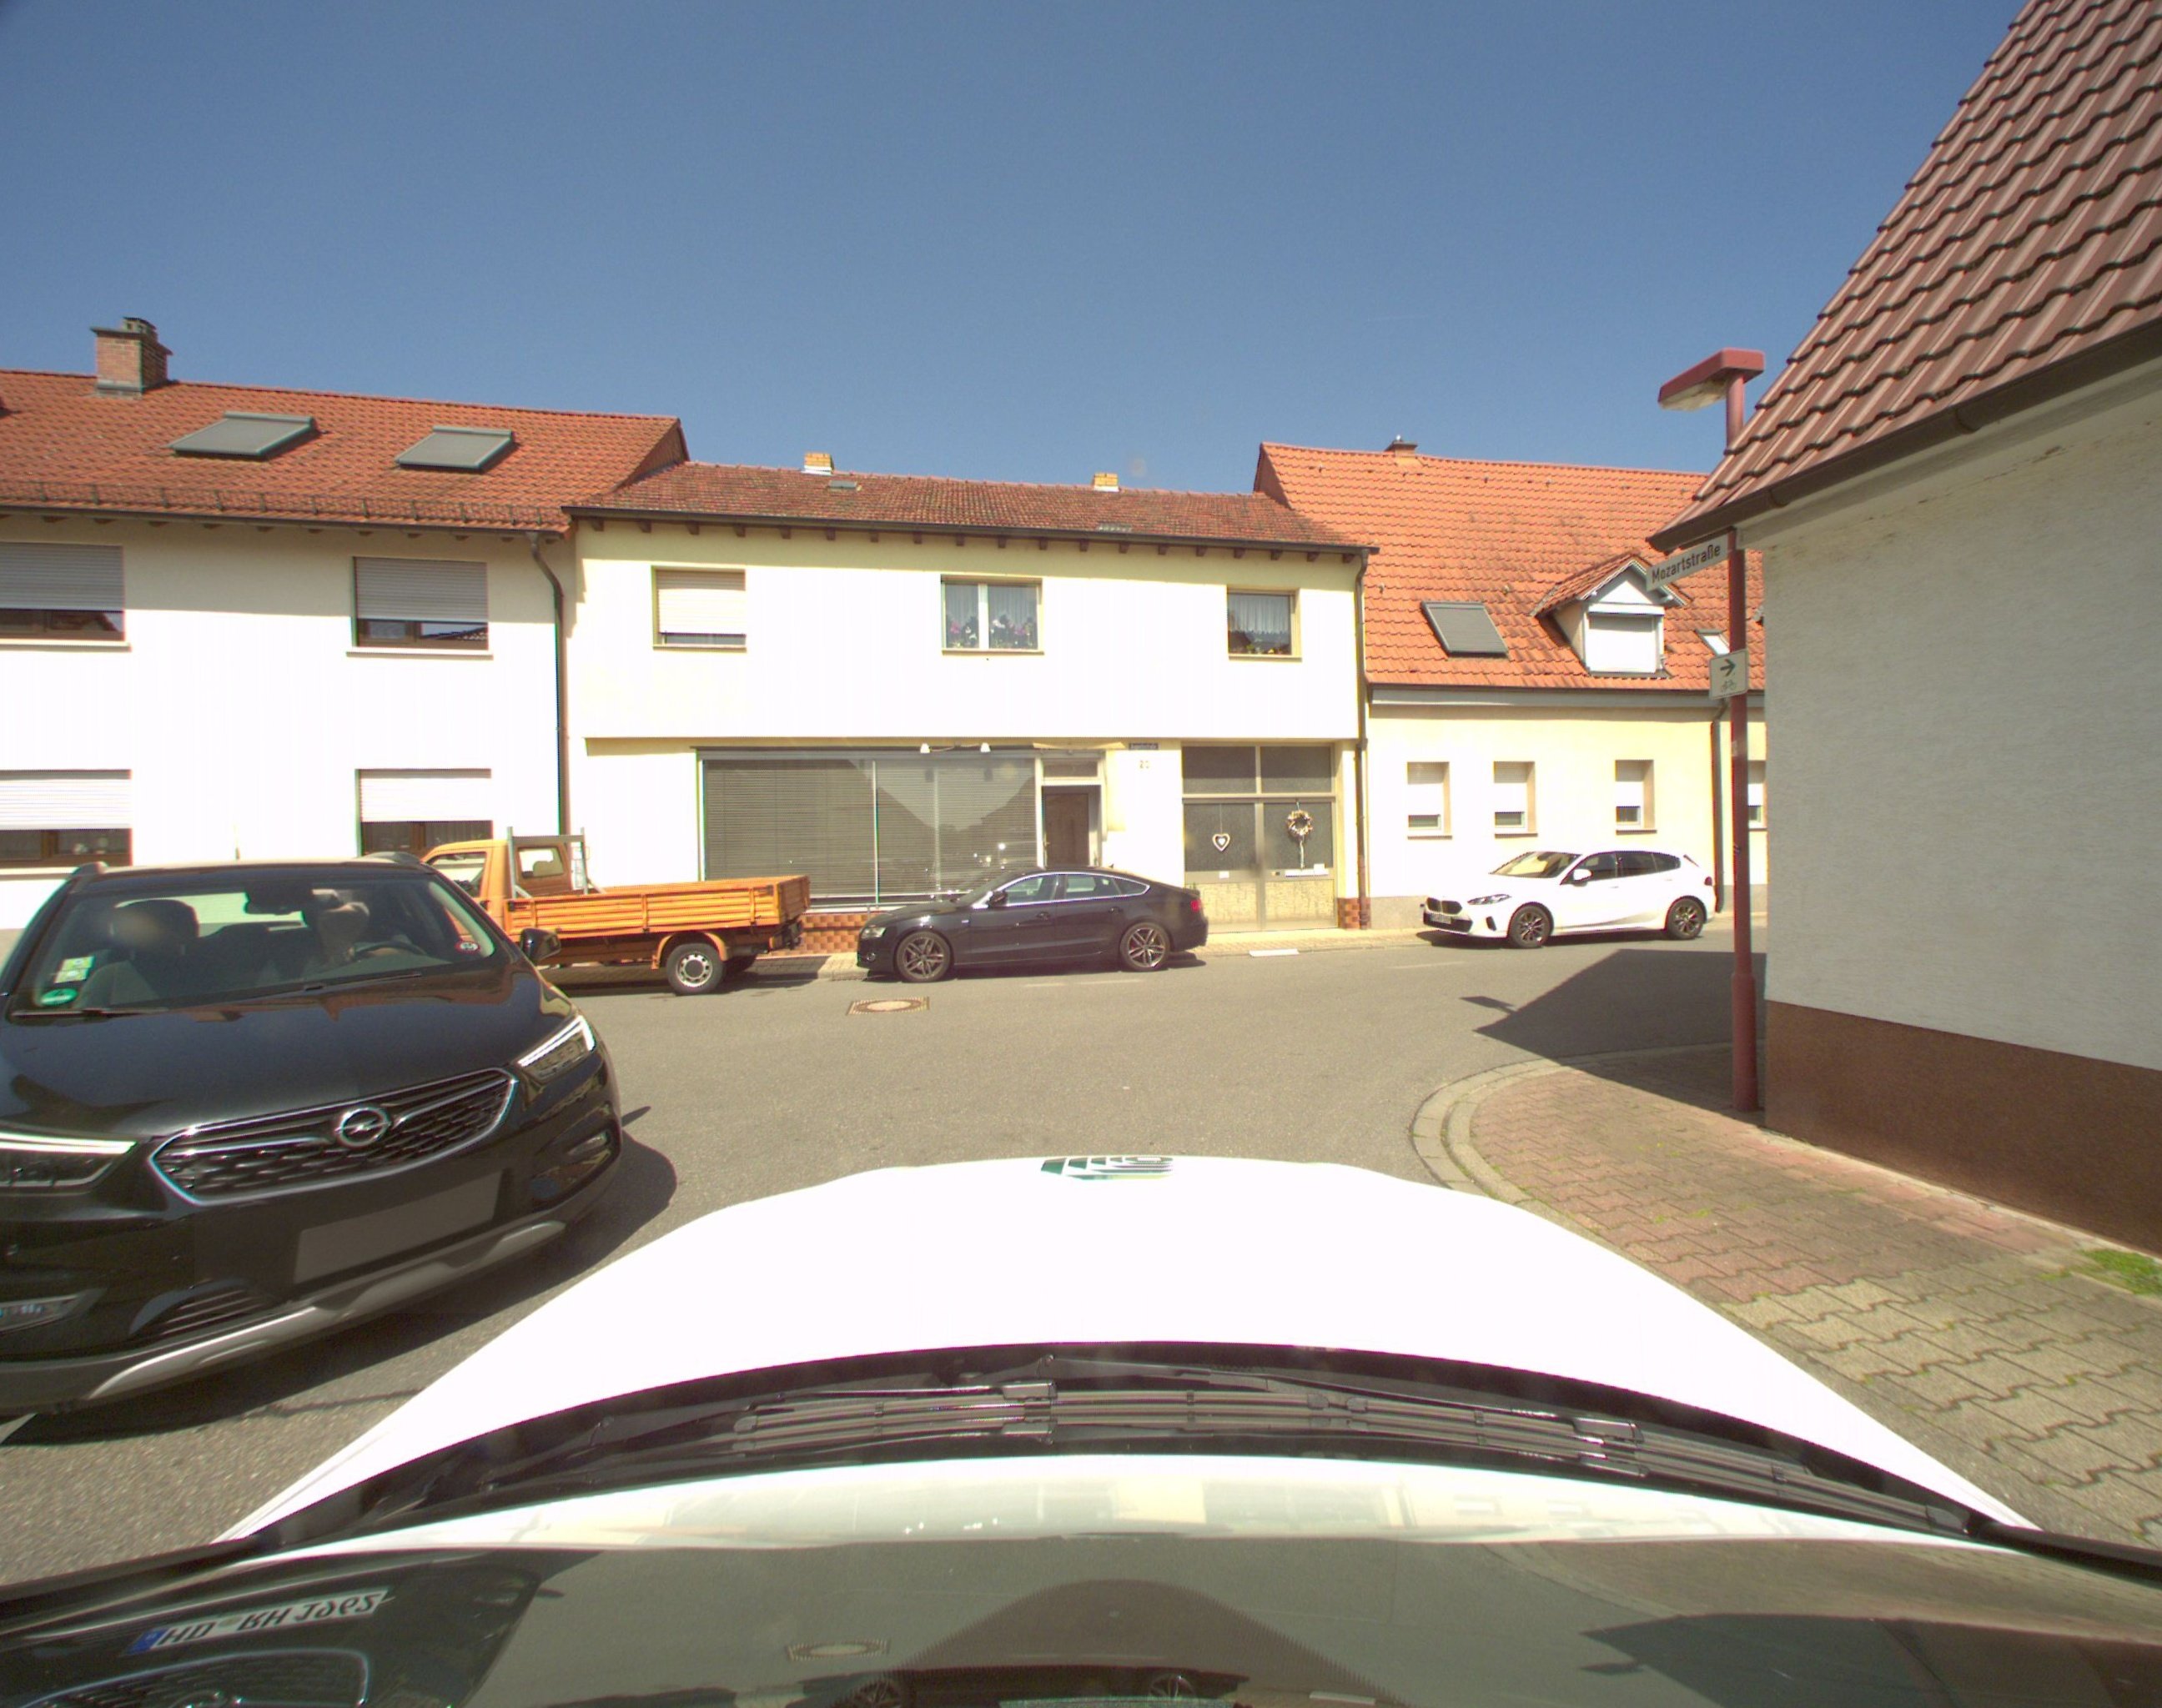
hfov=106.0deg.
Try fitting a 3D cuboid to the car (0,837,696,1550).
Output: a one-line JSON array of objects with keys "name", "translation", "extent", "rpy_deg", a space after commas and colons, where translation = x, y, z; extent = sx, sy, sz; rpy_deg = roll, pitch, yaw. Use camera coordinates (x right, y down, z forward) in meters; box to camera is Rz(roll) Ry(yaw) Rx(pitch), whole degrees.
[{"name": "car", "translation": [-3.638, 0.801, 3.727], "extent": [4.226, 1.583, 1.773], "rpy_deg": [-1, 1, 41]}]

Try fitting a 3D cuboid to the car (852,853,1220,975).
[{"name": "car", "translation": [-0.638, 0.769, 11.144], "extent": [4.618, 1.394, 1.920], "rpy_deg": [-1, -3, -11]}]

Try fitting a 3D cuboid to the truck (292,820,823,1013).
[{"name": "truck", "translation": [-6.028, 0.650, 10.137], "extent": [5.062, 2.014, 2.183], "rpy_deg": [-1, 0, -9]}]

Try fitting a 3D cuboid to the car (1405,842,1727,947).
[{"name": "car", "translation": [7.532, 0.583, 12.836], "extent": [4.200, 1.454, 1.783], "rpy_deg": [-1, 0, -9]}]
